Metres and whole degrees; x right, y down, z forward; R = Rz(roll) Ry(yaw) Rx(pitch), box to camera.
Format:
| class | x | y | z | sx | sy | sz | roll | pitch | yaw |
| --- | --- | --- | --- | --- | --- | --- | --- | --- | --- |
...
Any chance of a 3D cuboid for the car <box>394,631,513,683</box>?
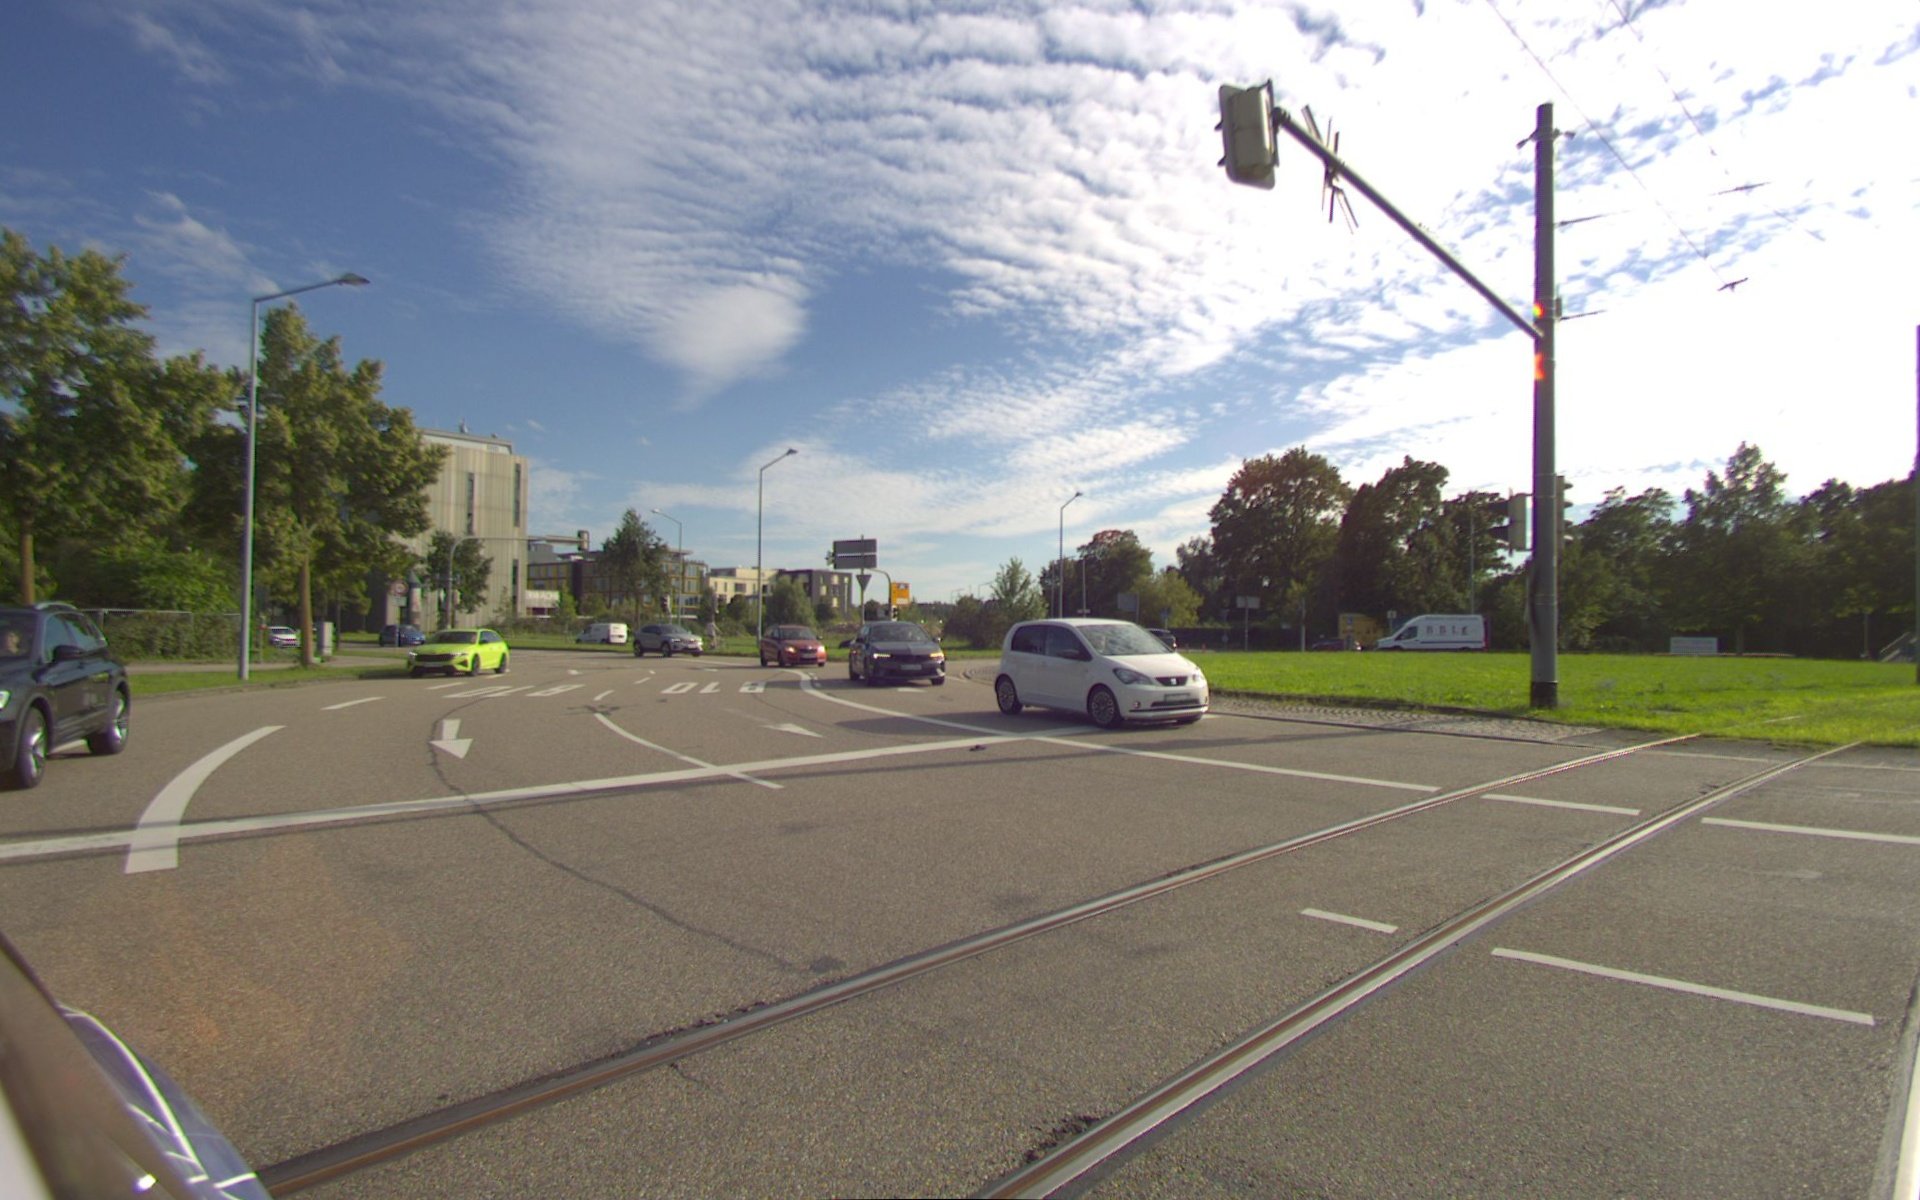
| class | x | y | z | sx | sy | sz | roll | pitch | yaw |
| --- | --- | --- | --- | --- | --- | --- | --- | --- | --- |
| car | -15.287 | 1.707 | 30.819 | 1.867 | 1.431 | 4.615 | -1 | -2 | -8 |

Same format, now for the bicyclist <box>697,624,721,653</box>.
| class | x | y | z | sx | sy | sz | roll | pitch | yaw |
| --- | --- | --- | --- | --- | --- | --- | --- | --- | --- |
| bicyclist | -13.919 | 2.150 | 56.211 | 0.997 | 1.568 | 0.854 | -1 | -2 | 41 |

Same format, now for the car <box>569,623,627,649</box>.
| class | x | y | z | sx | sy | sz | roll | pitch | yaw |
| --- | --- | --- | --- | --- | --- | --- | --- | --- | --- |
| car | -27.108 | 2.671 | 75.728 | 4.550 | 1.839 | 1.666 | -1 | -4 | 35 |

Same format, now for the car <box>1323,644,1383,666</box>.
| class | x | y | z | sx | sy | sz | roll | pitch | yaw |
| --- | --- | --- | --- | --- | --- | --- | --- | --- | --- |
| car | 28.277 | 3.986 | 72.968 | 1.656 | 1.513 | 4.007 | 3 | -4 | -23 |

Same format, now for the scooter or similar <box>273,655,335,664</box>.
| class | x | y | z | sx | sy | sz | roll | pitch | yaw |
| --- | --- | --- | --- | --- | --- | --- | --- | --- | --- |
| scooter or similar | -25.142 | 2.282 | 38.813 | 1.280 | 0.283 | 1.547 | 0 | -2 | 12 |

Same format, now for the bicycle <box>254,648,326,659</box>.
| class | x | y | z | sx | sy | sz | roll | pitch | yaw |
| --- | --- | --- | --- | --- | --- | --- | --- | --- | --- |
| bicycle | -27.133 | 2.166 | 41.013 | 2.220 | 0.349 | 1.089 | -2 | -1 | 3 |

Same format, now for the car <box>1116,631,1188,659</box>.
| class | x | y | z | sx | sy | sz | roll | pitch | yaw |
| --- | --- | --- | --- | --- | --- | --- | --- | --- | --- |
| car | 11.324 | 2.652 | 59.811 | 3.938 | 1.513 | 1.685 | 1 | -4 | 0 |

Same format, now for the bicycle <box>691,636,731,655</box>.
| class | x | y | z | sx | sy | sz | roll | pitch | yaw |
| --- | --- | --- | --- | --- | --- | --- | --- | --- | --- |
| bicycle | -13.847 | 2.541 | 56.301 | 1.001 | 1.015 | 1.934 | -1 | -2 | 41 |

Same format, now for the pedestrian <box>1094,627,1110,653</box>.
| class | x | y | z | sx | sy | sz | roll | pitch | yaw |
| --- | --- | --- | --- | --- | --- | --- | --- | --- | --- |
| pedestrian | 10.464 | 2.941 | 74.730 | 0.863 | 1.930 | 0.887 | -1 | 0 | 31 |

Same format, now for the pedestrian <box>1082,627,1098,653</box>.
| class | x | y | z | sx | sy | sz | roll | pitch | yaw |
| --- | --- | --- | --- | --- | --- | --- | --- | --- | --- |
| pedestrian | 9.645 | 2.951 | 75.120 | 0.863 | 1.930 | 0.887 | -1 | 0 | 31 |

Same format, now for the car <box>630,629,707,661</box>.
| class | x | y | z | sx | sy | sz | roll | pitch | yaw |
| --- | --- | --- | --- | --- | --- | --- | --- | --- | --- |
| car | -14.186 | 2.213 | 49.154 | 4.226 | 1.486 | 1.671 | -3 | -3 | 42 |

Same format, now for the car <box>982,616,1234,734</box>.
| class | x | y | z | sx | sy | sz | roll | pitch | yaw |
| --- | --- | --- | --- | --- | --- | --- | --- | --- | --- |
| car | 1.998 | 0.969 | 14.658 | 1.737 | 1.475 | 3.671 | 0 | -1 | -29 |

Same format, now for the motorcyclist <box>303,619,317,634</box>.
| class | x | y | z | sx | sy | sz | roll | pitch | yaw |
| --- | --- | --- | --- | --- | --- | --- | --- | --- | --- |
| motorcyclist | -62.087 | 2.551 | 96.633 | 0.941 | 1.376 | 0.775 | -1 | -3 | 35 |

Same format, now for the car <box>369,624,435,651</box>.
| class | x | y | z | sx | sy | sz | roll | pitch | yaw |
| --- | --- | --- | --- | --- | --- | --- | --- | --- | --- |
| car | -37.849 | 2.508 | 68.572 | 4.791 | 1.674 | 1.977 | 0 | -2 | 34 |

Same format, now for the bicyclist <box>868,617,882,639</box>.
| class | x | y | z | sx | sy | sz | roll | pitch | yaw |
| --- | --- | --- | --- | --- | --- | --- | --- | --- | --- |
| bicyclist | -5.633 | 1.852 | 66.869 | 0.687 | 1.456 | 0.612 | 3 | -3 | -42 |

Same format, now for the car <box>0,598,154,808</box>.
| class | x | y | z | sx | sy | sz | roll | pitch | yaw |
| --- | --- | --- | --- | --- | --- | --- | --- | --- | --- |
| car | -9.587 | 0.856 | 9.725 | 1.840 | 1.708 | 5.031 | 2 | -2 | -27 |

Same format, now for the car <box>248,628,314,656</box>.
| class | x | y | z | sx | sy | sz | roll | pitch | yaw |
| --- | --- | --- | --- | --- | --- | --- | --- | --- | --- |
| car | -43.900 | 2.690 | 65.413 | 4.793 | 1.674 | 1.976 | 0 | -2 | 36 |

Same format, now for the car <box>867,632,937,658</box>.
| class | x | y | z | sx | sy | sz | roll | pitch | yaw |
| --- | --- | --- | --- | --- | --- | --- | --- | --- | --- |
| car | -3.564 | 2.771 | 62.345 | 3.964 | 1.513 | 1.674 | 0 | -4 | 20 |

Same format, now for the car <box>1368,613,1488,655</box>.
| class | x | y | z | sx | sy | sz | roll | pitch | yaw |
| --- | --- | --- | --- | --- | --- | --- | --- | --- | --- |
| car | 27.169 | 2.015 | 58.945 | 5.961 | 2.281 | 2.058 | 1 | -4 | 12 |

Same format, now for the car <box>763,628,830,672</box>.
| class | x | y | z | sx | sy | sz | roll | pitch | yaw |
| --- | --- | --- | --- | --- | --- | --- | --- | --- | --- |
| car | -5.936 | 1.775 | 36.367 | 1.665 | 1.486 | 4.240 | 0 | -2 | -19 |

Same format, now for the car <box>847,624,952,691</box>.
| class | x | y | z | sx | sy | sz | roll | pitch | yaw |
| --- | --- | --- | --- | --- | --- | --- | --- | --- | --- |
| car | -1.534 | 1.311 | 24.002 | 1.794 | 1.431 | 4.458 | 0 | -2 | -12 |
